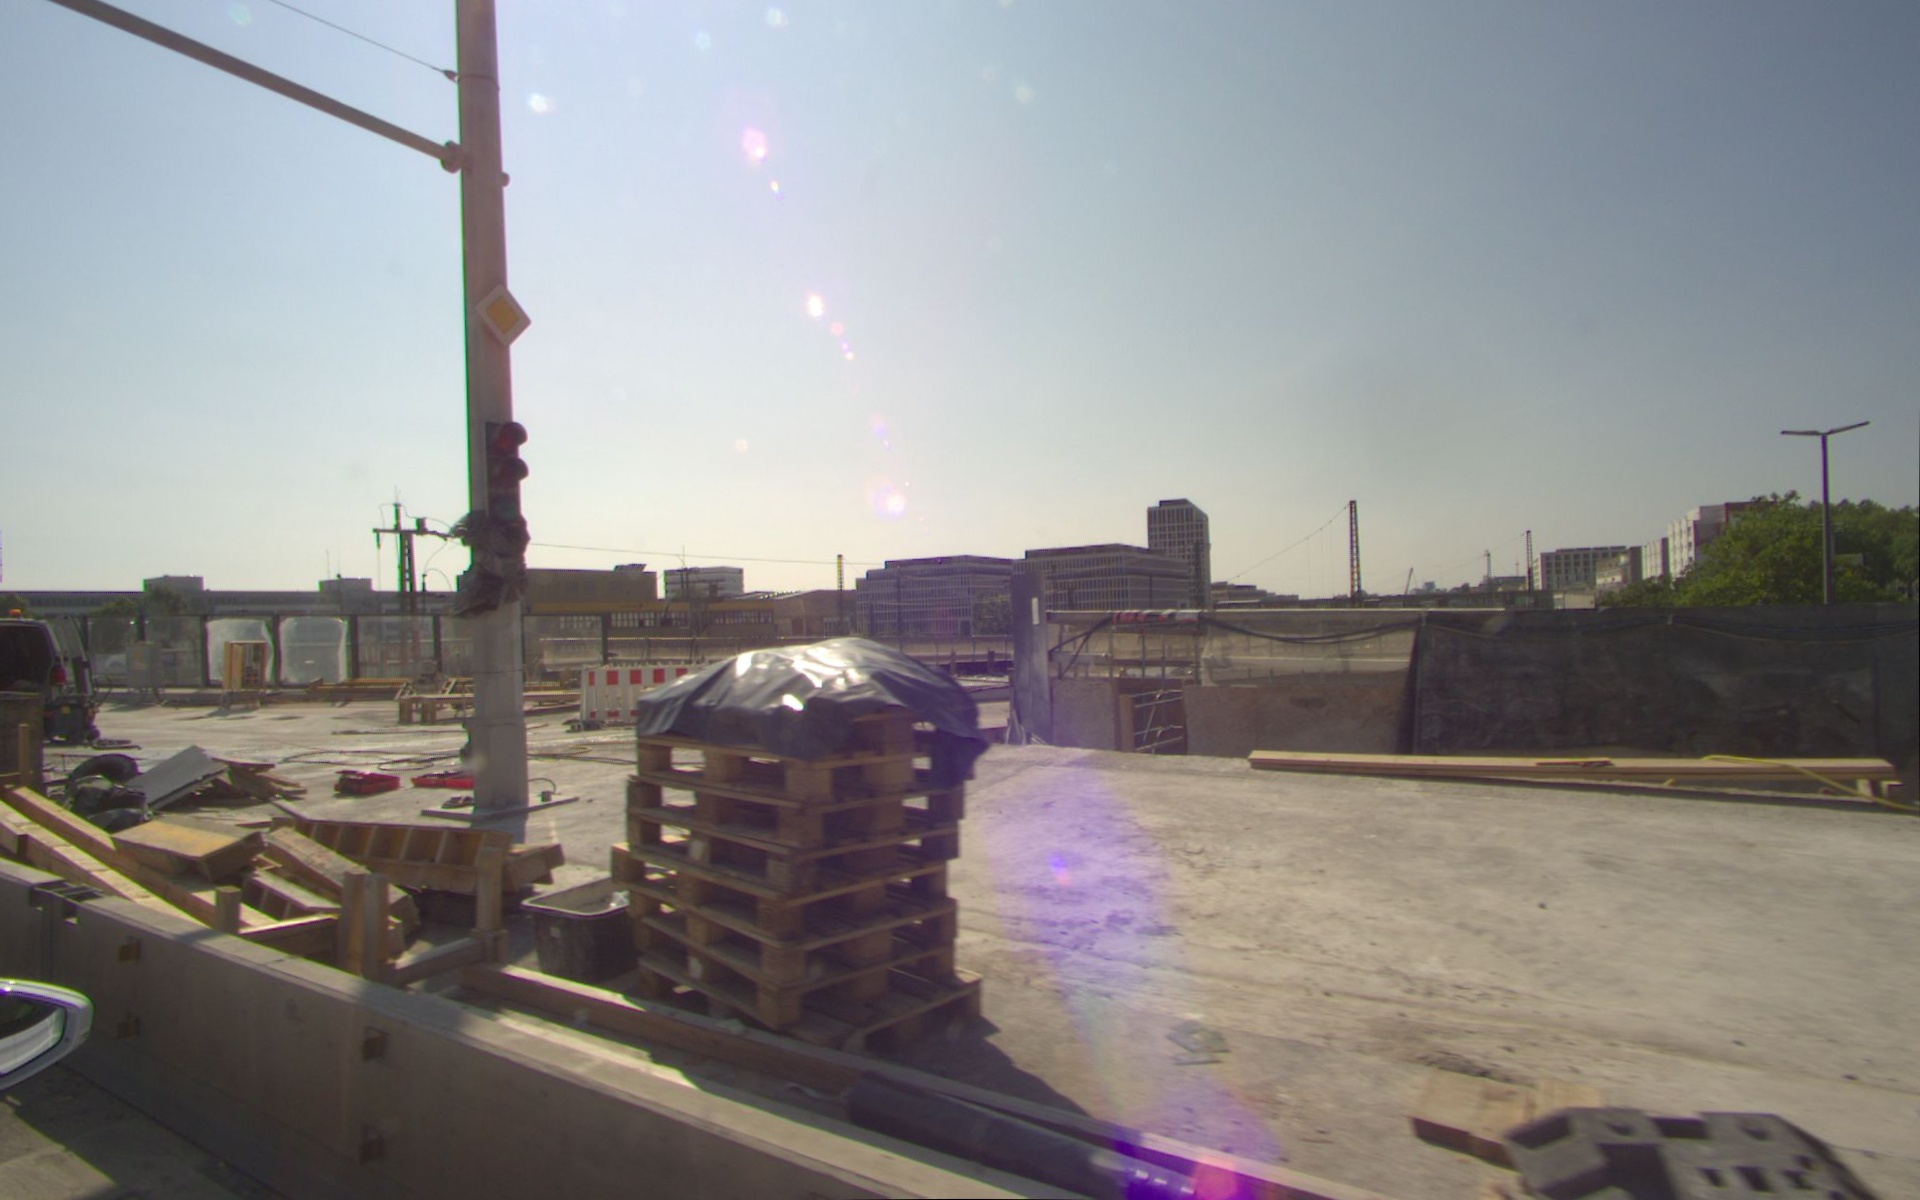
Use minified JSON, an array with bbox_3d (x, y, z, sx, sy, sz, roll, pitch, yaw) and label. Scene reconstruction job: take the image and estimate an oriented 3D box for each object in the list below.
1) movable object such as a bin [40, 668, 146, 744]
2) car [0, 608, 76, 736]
[{"bbox_3d":[-13.592,1.647,15.730,0.925,1.088,0.891,-1,-1,-12],"label":"movable object such as a bin"},{"bbox_3d":[-17.471,1.246,17.484,4.824,2.059,1.874,-2,-2,34],"label":"car"}]
